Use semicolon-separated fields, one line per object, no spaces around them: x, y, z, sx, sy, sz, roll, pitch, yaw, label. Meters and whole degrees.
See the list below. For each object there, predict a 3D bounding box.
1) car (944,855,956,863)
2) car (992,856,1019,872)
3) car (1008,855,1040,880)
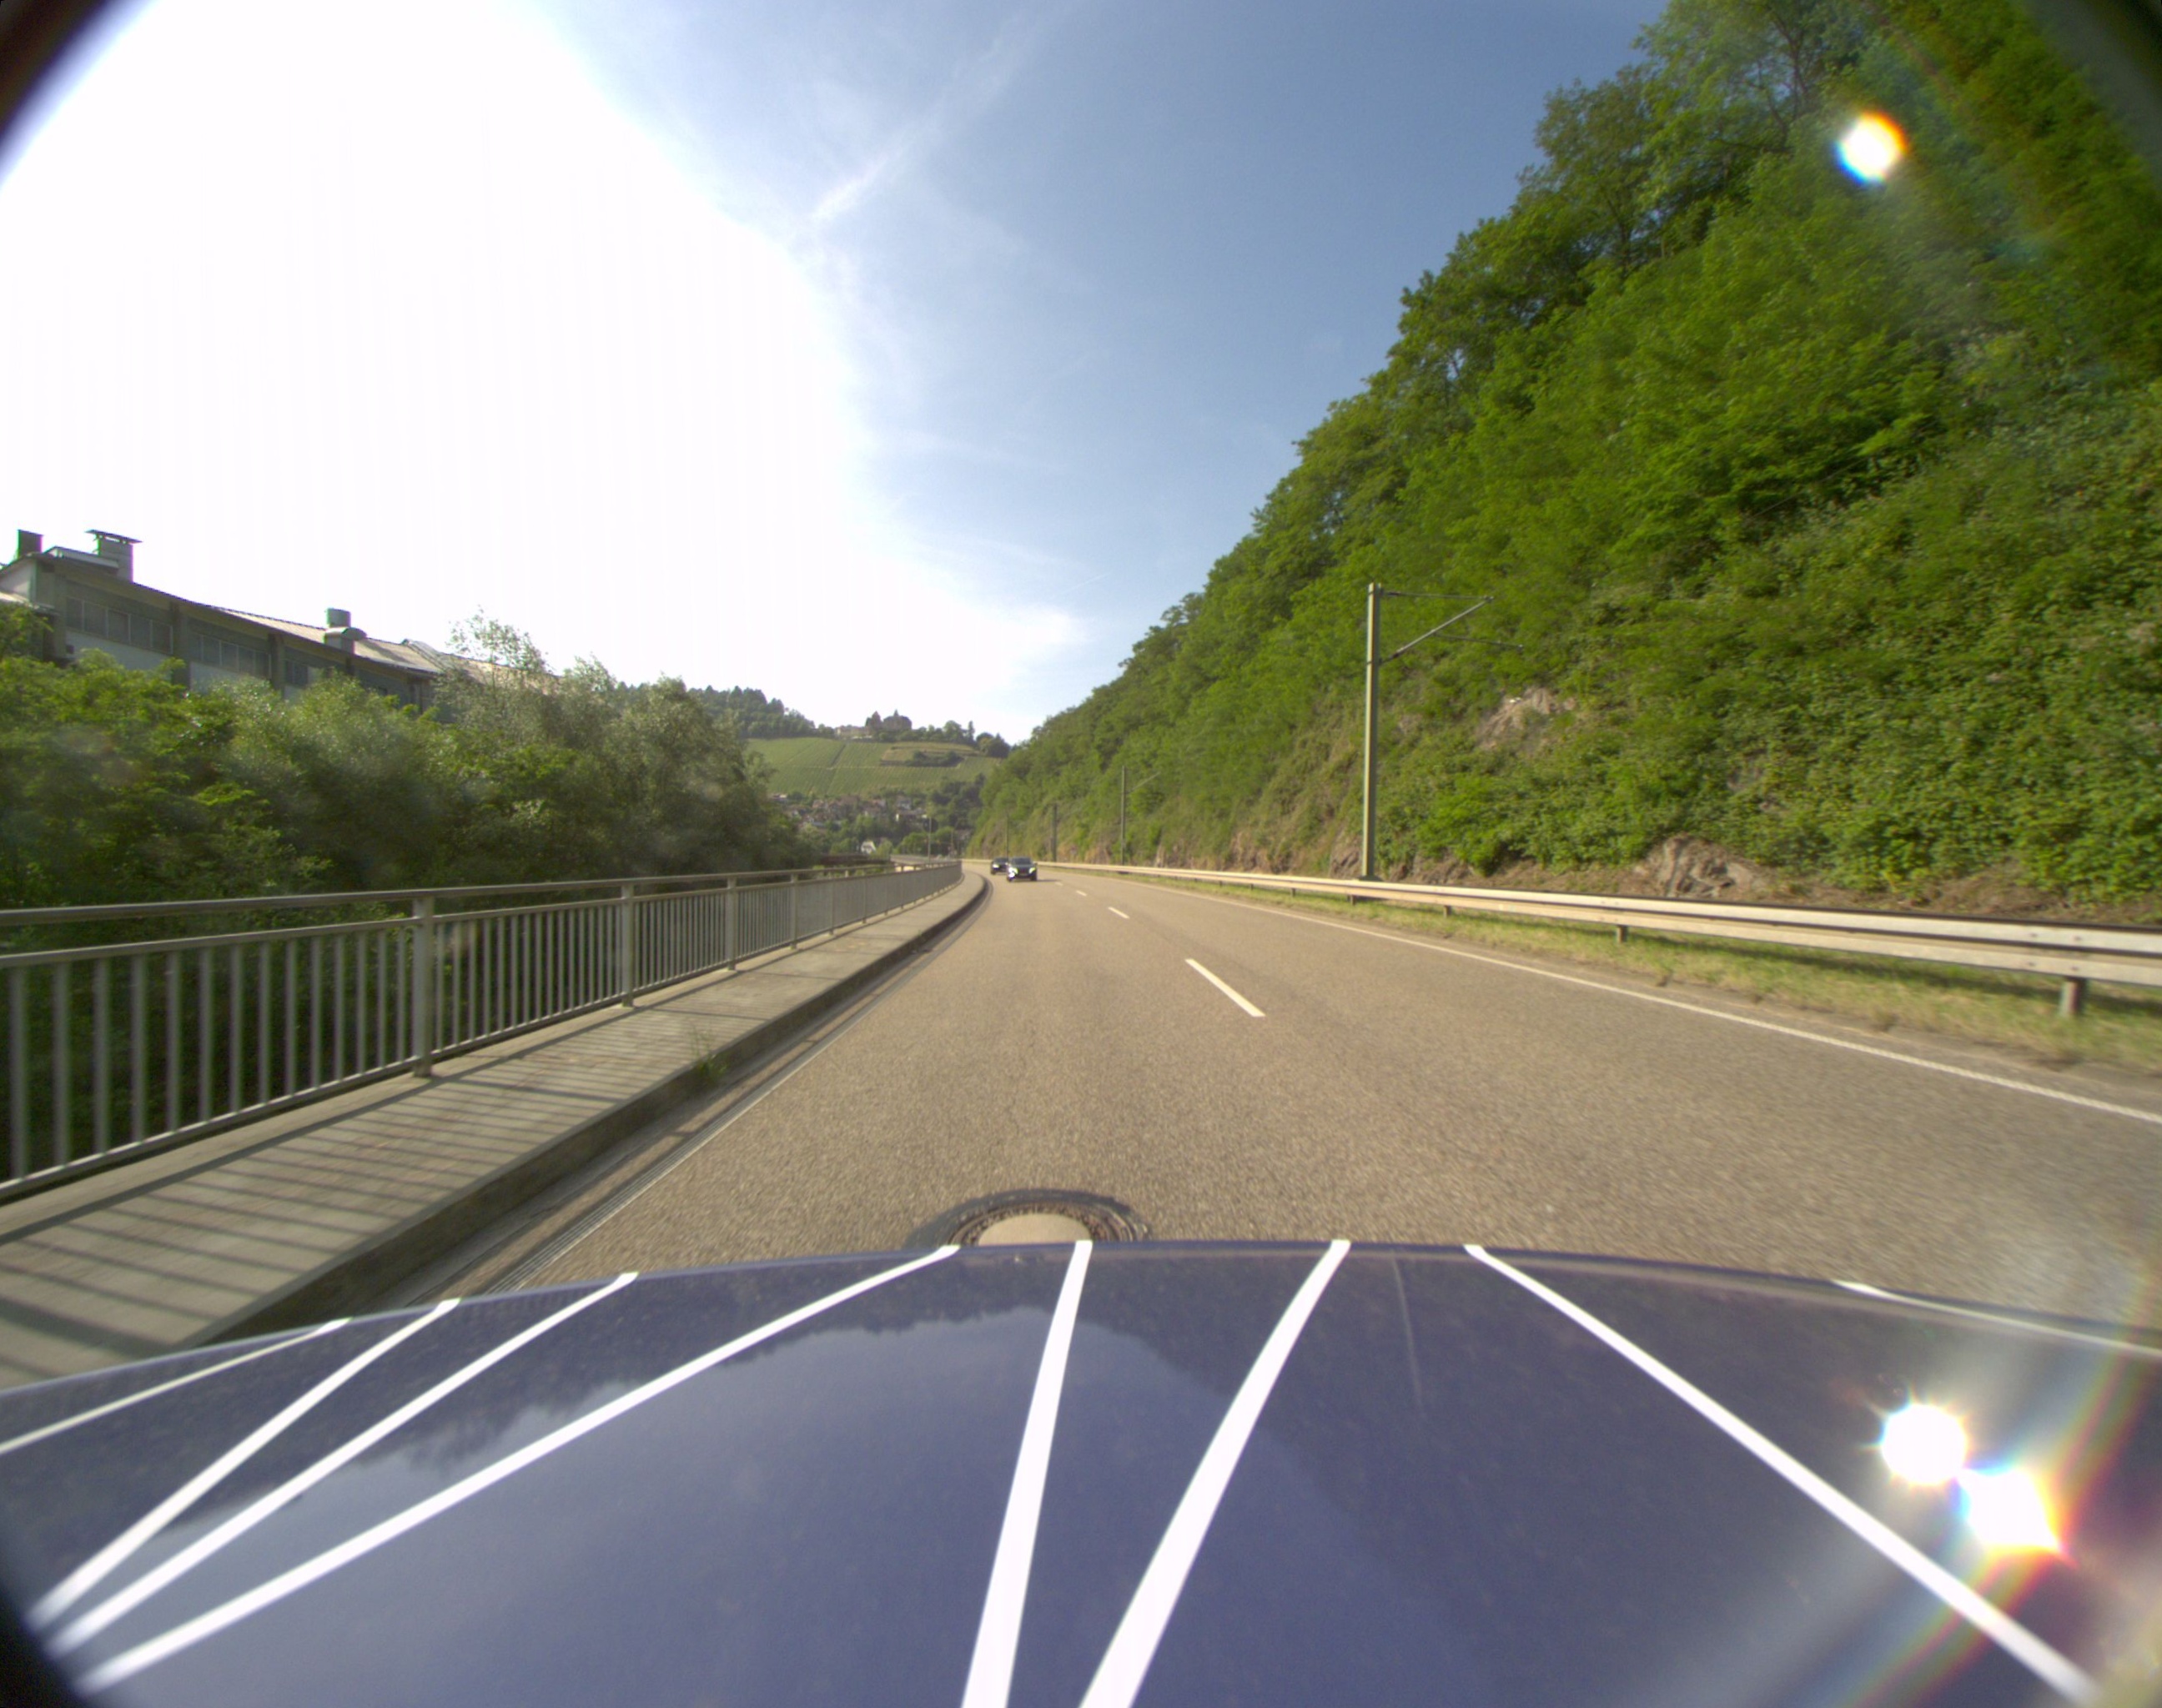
-27.447;1.042;159.387;1.854;1.393;4.470;-1;-1;-17;car
-6.949;0.904;69.691;2.001;1.384;3.996;3;-1;-11;car
-3.867;0.853;50.960;1.864;1.576;3.997;-2;0;-7;car
